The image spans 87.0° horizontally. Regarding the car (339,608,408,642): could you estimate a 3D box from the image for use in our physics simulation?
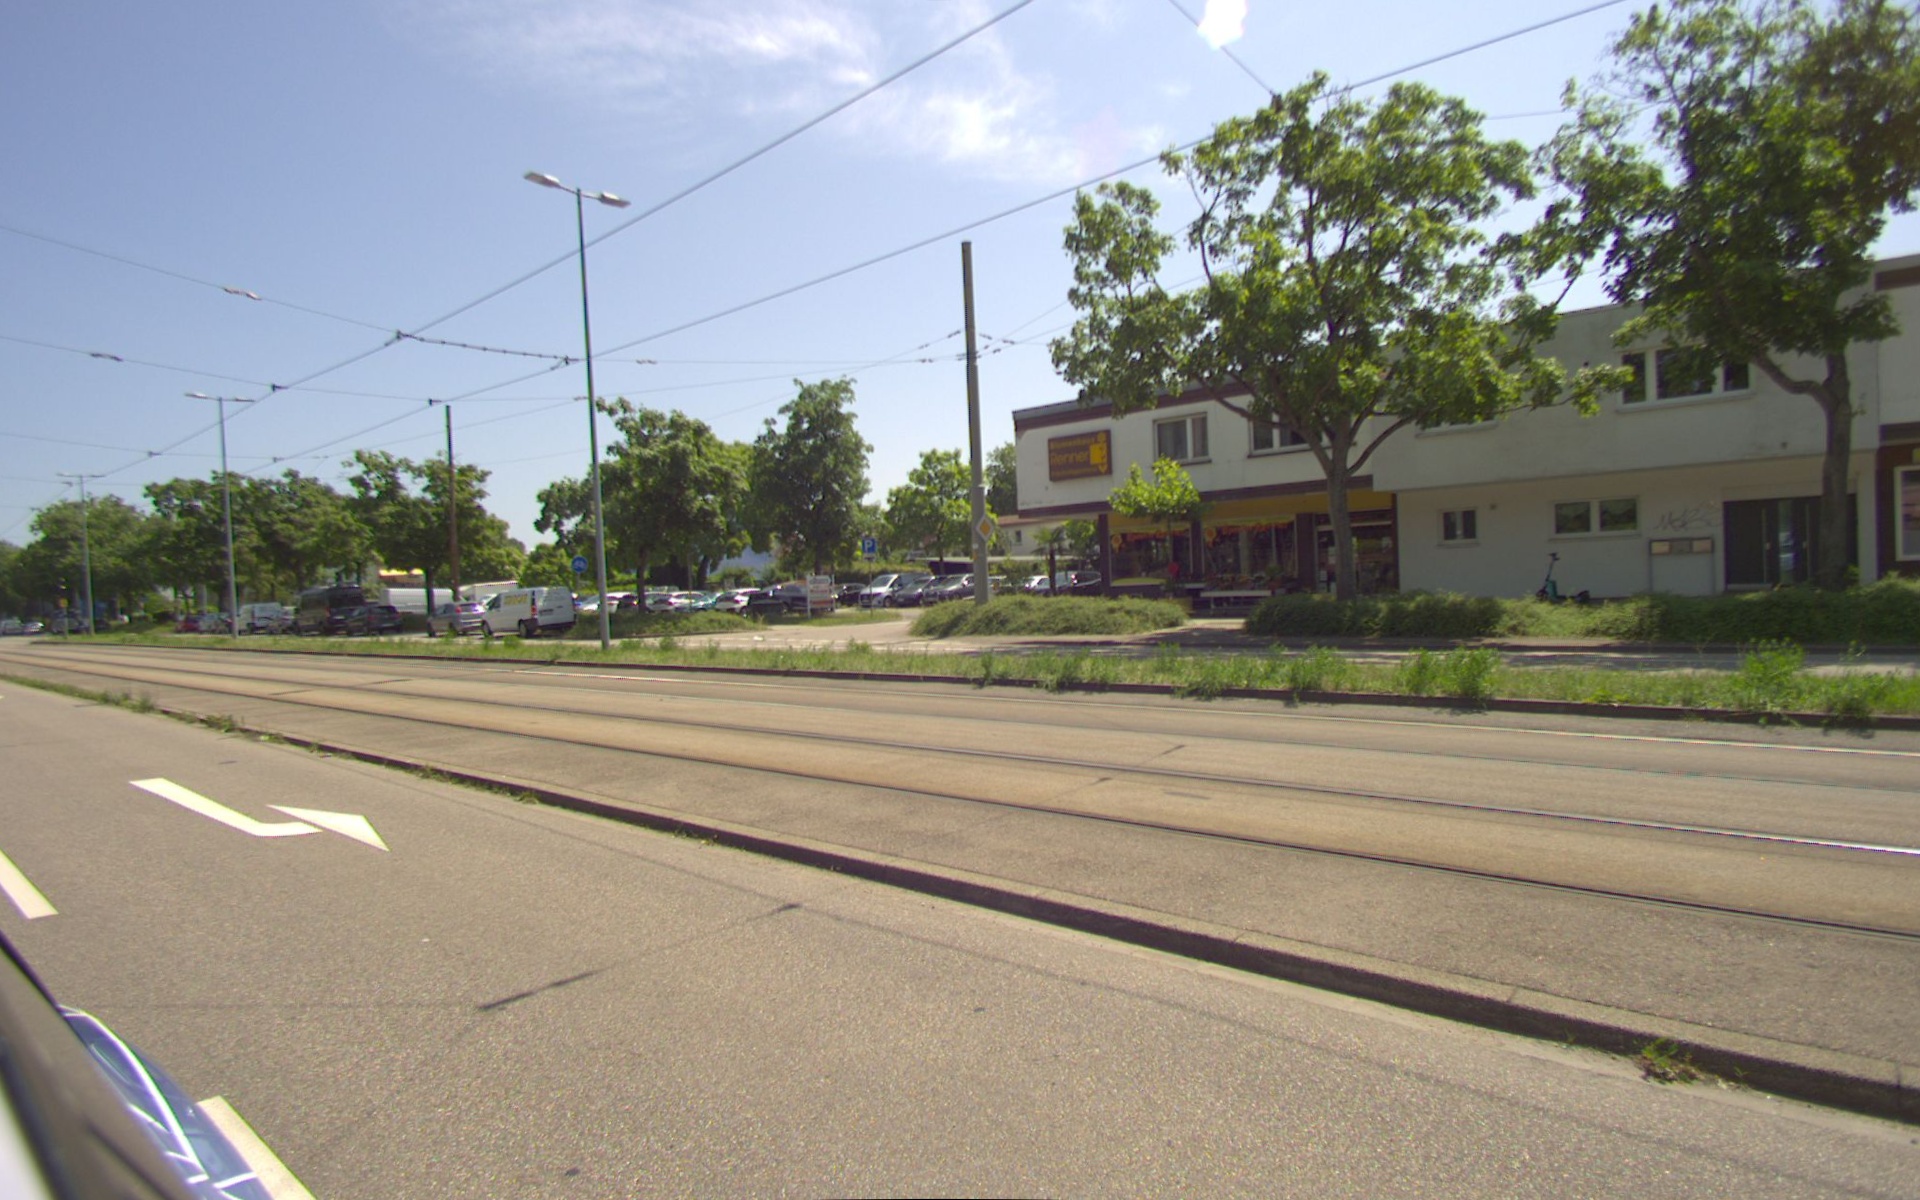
[{"bbox_3d":[-29.574,1.218,51.013,3.751,1.589,1.950,-1,0,42],"label":"car"}]

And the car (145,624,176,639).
[{"bbox_3d":[-66.146,2.577,83.711,3.423,1.167,1.561,-1,0,43],"label":"car"}]

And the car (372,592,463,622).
[{"bbox_3d":[-38.667,0.485,72.295,2.029,1.970,5.363,-1,0,42],"label":"car"}]

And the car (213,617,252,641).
[{"bbox_3d":[-48.869,1.918,67.966,3.261,1.489,1.411,-1,0,41],"label":"car"}]

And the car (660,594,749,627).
[{"bbox_3d":[-12.440,0.475,49.452,1.908,1.501,3.995,-1,0,34],"label":"car"}]

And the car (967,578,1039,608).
[{"bbox_3d":[2.336,-0.396,54.357,1.661,1.531,3.943,-1,0,43],"label":"car"}]

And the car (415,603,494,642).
[{"bbox_3d":[-22.269,0.991,44.528,4.124,1.513,1.633,-1,4,42],"label":"car"}]

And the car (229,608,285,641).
[{"bbox_3d":[-44.735,1.516,64.362,4.816,1.963,1.899,-1,0,42],"label":"car"}]

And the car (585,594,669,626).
[{"bbox_3d":[-17.993,0.517,54.808,1.827,1.501,4.030,-2,1,34],"label":"car"}]

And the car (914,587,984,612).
[{"bbox_3d":[-0.559,-0.021,55.342,1.764,1.294,3.675,-1,0,43],"label":"car"}]

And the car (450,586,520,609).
[{"bbox_3d":[-44.948,-0.230,95.838,2.145,2.078,5.674,-1,0,38],"label":"car"}]

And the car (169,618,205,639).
[{"bbox_3d":[-57.514,2.094,75.291,3.423,1.491,1.561,-1,0,43],"label":"car"}]

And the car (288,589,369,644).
[{"bbox_3d":[-34.447,0.871,55.119,5.666,2.859,2.214,-1,0,42],"label":"car"}]

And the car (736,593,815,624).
[{"bbox_3d":[-8.378,0.383,46.128,1.639,1.241,3.386,-2,1,34],"label":"car"}]

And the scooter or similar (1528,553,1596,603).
[{"bbox_3d":[14.649,-0.525,24.651,0.448,1.200,1.349,-1,0,-29],"label":"scooter or similar"}]

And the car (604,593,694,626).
[{"bbox_3d":[-16.121,0.485,52.637,2.018,1.501,4.117,-2,1,34],"label":"car"}]

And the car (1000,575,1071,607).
[{"bbox_3d":[3.942,-0.479,52.237,1.520,1.591,3.943,-1,0,43],"label":"car"}]

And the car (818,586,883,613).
[{"bbox_3d":[-6.747,-0.026,62.483,1.683,1.597,3.948,-1,0,39],"label":"car"}]

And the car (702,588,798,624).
[{"bbox_3d":[-9.949,0.279,48.256,1.983,1.501,4.120,-2,1,39],"label":"car"}]

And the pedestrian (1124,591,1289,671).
[{"bbox_3d":[6.793,0.817,28.078,3.997,2.029,1.973,-1,0,41],"label":"pedestrian"}]

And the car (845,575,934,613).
[{"bbox_3d":[-4.064,-0.359,59.146,2.225,2.085,5.055,-1,0,41],"label":"car"}]

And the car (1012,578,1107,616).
[{"bbox_3d":[3.992,-0.142,40.095,1.682,1.306,3.944,-3,1,42],"label":"car"}]

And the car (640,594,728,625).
[{"bbox_3d":[-13.970,0.464,51.450,1.855,1.501,4.099,-1,0,34],"label":"car"}]

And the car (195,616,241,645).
[{"bbox_3d":[-52.132,2.122,71.075,4.495,1.907,1.614,-1,0,41],"label":"car"}]

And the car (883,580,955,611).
[{"bbox_3d":[-2.284,-0.258,57.496,1.804,1.669,3.943,-1,0,43],"label":"car"}]

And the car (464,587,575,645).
[{"bbox_3d":[-17.643,0.628,40.415,5.342,2.025,1.856,-1,4,42],"label":"car"}]

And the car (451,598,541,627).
[{"bbox_3d":[-30.033,0.787,65.628,1.997,1.588,4.867,-2,1,38],"label":"car"}]

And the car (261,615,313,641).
[{"bbox_3d":[-40.327,1.672,60.601,3.608,1.475,1.744,-1,0,42],"label":"car"}]

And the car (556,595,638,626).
[{"bbox_3d":[-20.104,0.559,56.169,1.862,1.499,3.955,-2,1,34],"label":"car"}]

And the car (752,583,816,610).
[{"bbox_3d":[-11.424,-0.235,65.949,1.689,1.665,4.082,-2,0,35],"label":"car"}]

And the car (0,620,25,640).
[{"bbox_3d":[-101.020,3.205,107.496,4.208,2.005,1.799,-1,0,38],"label":"car"}]
